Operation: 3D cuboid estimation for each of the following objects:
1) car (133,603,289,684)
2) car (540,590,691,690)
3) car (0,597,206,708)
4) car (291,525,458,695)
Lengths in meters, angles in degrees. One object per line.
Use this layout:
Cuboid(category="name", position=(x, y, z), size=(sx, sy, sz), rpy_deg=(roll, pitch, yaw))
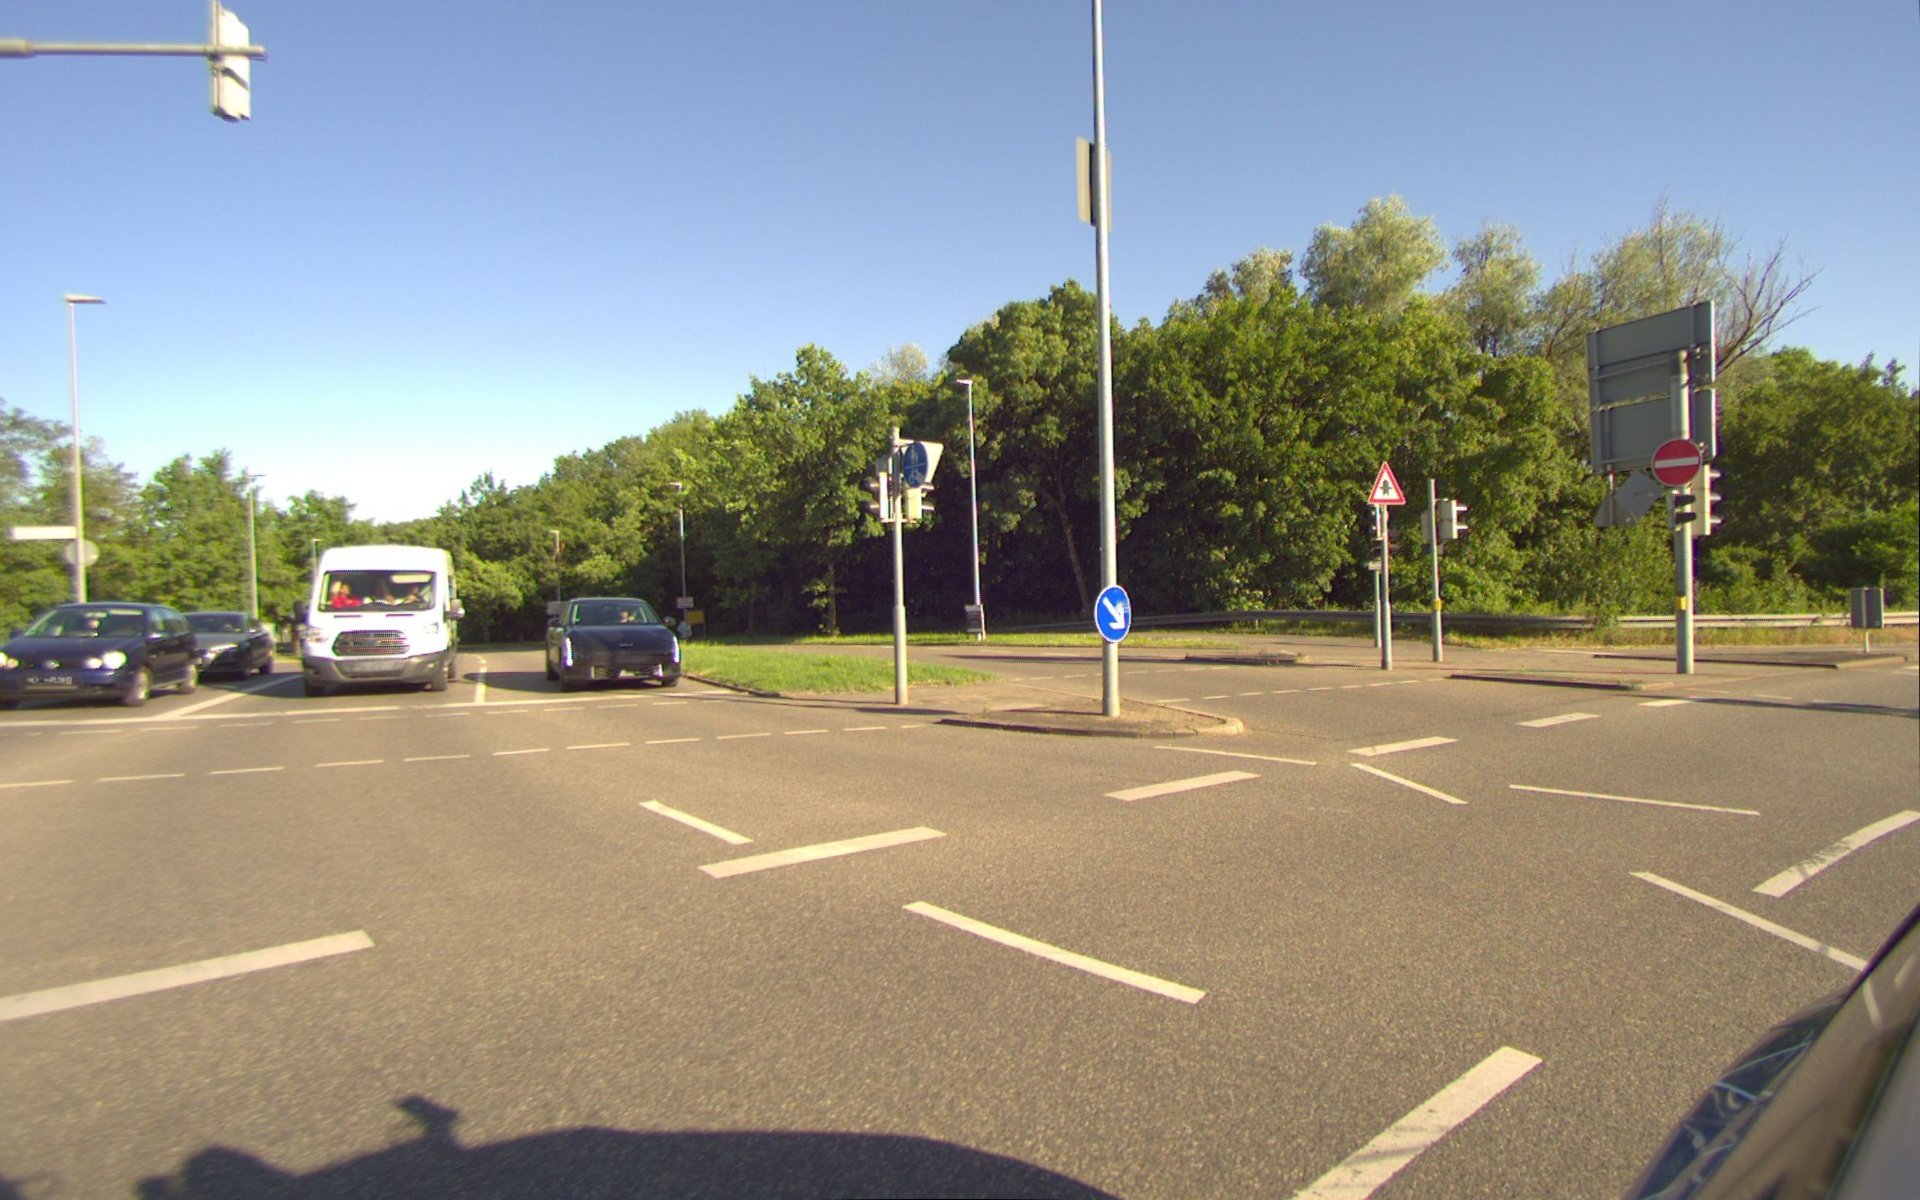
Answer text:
Cuboid(category="car", position=(-15.338, 0.818, 20.927), size=(1.577, 1.404, 3.711), rpy_deg=(-2, 1, -20))
Cuboid(category="car", position=(-6.109, 0.596, 17.589), size=(1.959, 1.483, 4.479), rpy_deg=(-1, 0, -26))
Cuboid(category="car", position=(-12.605, 0.702, 14.858), size=(1.659, 1.421, 3.764), rpy_deg=(1, -1, -24))
Cuboid(category="car", position=(-9.831, 0.177, 17.394), size=(2.065, 2.440, 5.292), rpy_deg=(-1, -1, -26))
